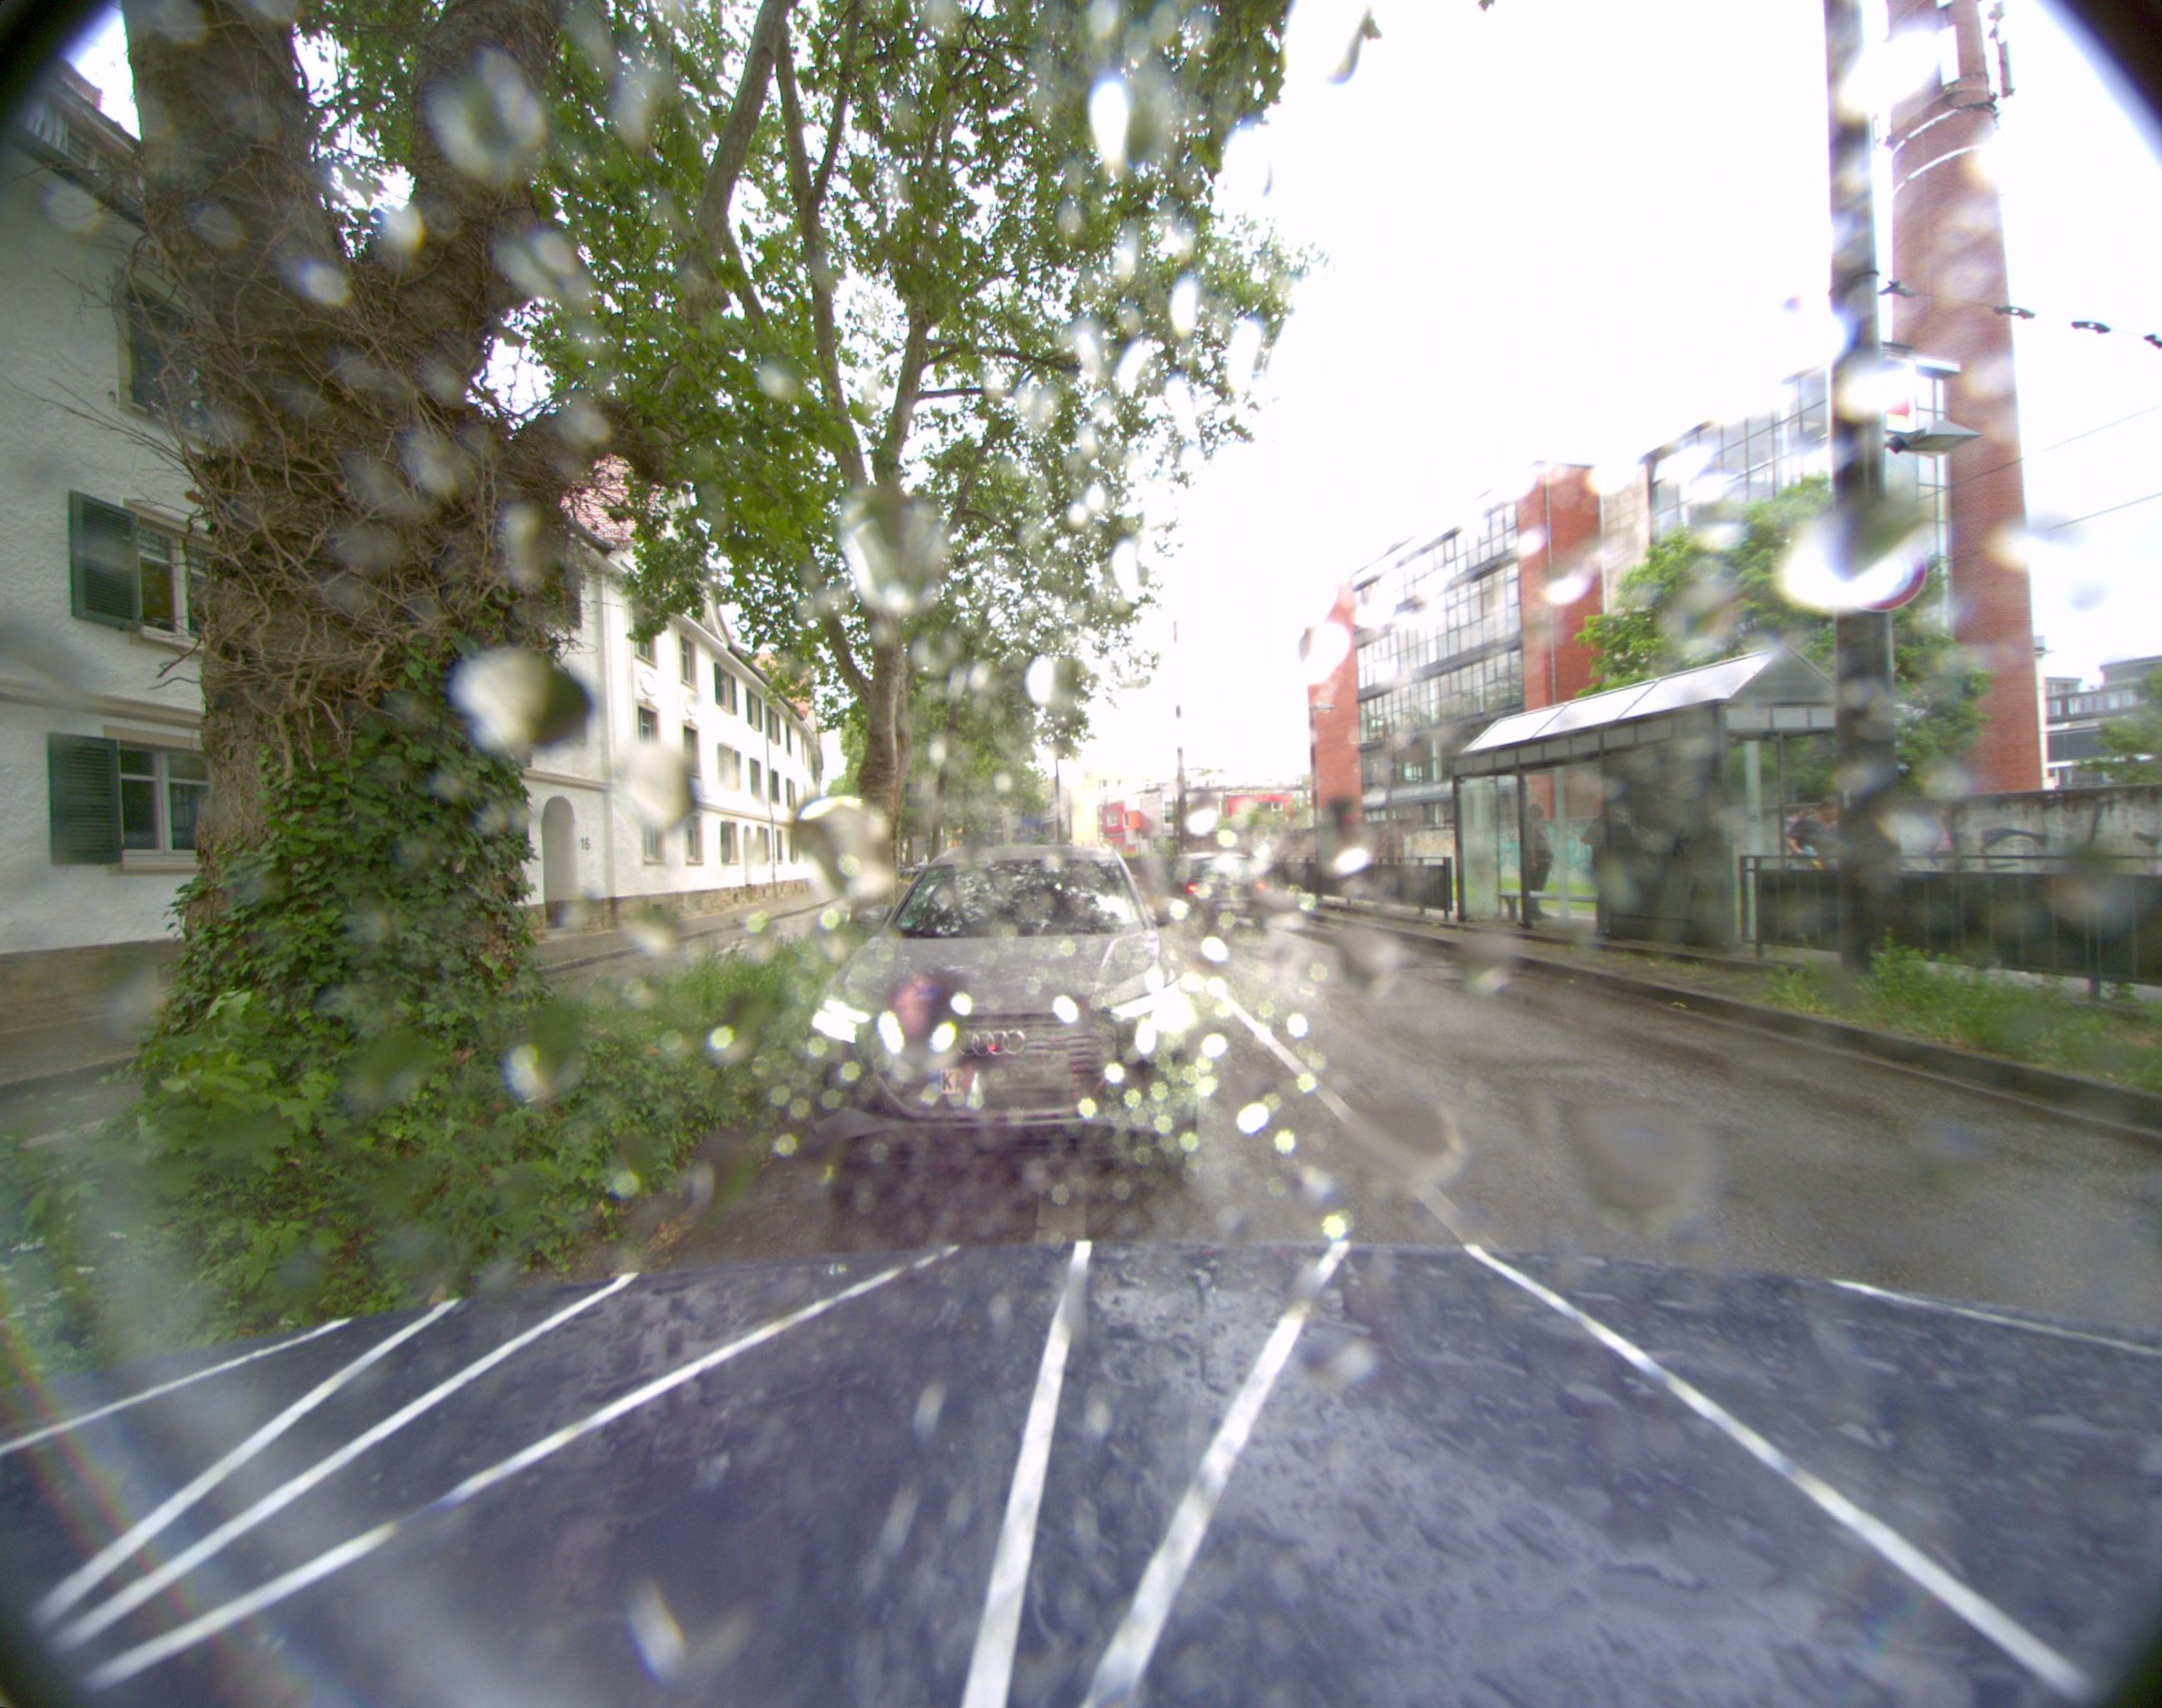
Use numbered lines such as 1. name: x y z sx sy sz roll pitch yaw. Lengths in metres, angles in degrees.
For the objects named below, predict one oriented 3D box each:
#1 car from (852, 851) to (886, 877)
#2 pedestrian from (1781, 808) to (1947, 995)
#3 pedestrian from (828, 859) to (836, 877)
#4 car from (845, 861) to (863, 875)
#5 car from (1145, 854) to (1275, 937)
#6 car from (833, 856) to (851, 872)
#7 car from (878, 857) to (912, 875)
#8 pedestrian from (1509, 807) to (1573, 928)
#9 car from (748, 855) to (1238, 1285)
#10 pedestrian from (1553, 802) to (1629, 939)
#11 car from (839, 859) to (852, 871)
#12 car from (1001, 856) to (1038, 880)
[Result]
1. car: -20.008 0.906 71.602 2.199 2.250 5.401 -3 0 -24
2. pedestrian: 8.087 0.464 7.883 0.828 1.794 0.843 -3 1 -10
3. pedestrian: -25.441 1.441 77.613 0.674 1.811 0.678 -3 1 -18
4. car: -26.847 1.614 89.871 1.834 1.517 3.993 -3 1 -19
5. car: 2.576 0.771 16.075 1.719 1.451 3.745 -2 1 -6
6. car: -32.263 1.297 102.634 2.002 2.001 3.993 3 -1 -20
7. car: -23.206 1.491 94.670 4.002 2.002 1.997 -2 0 -17
8. pedestrian: 6.848 0.195 11.325 0.629 1.738 0.514 -2 1 9
9. car: -0.409 0.870 5.132 1.917 1.632 4.106 -2 0 -2
10. pedestrian: 6.737 0.214 10.056 0.629 1.738 0.564 -2 1 9
11. car: -42.933 1.940 138.627 2.002 2.001 3.993 3 -1 -20
12. car: -4.688 1.035 57.252 1.810 1.673 4.597 -3 0 -16
